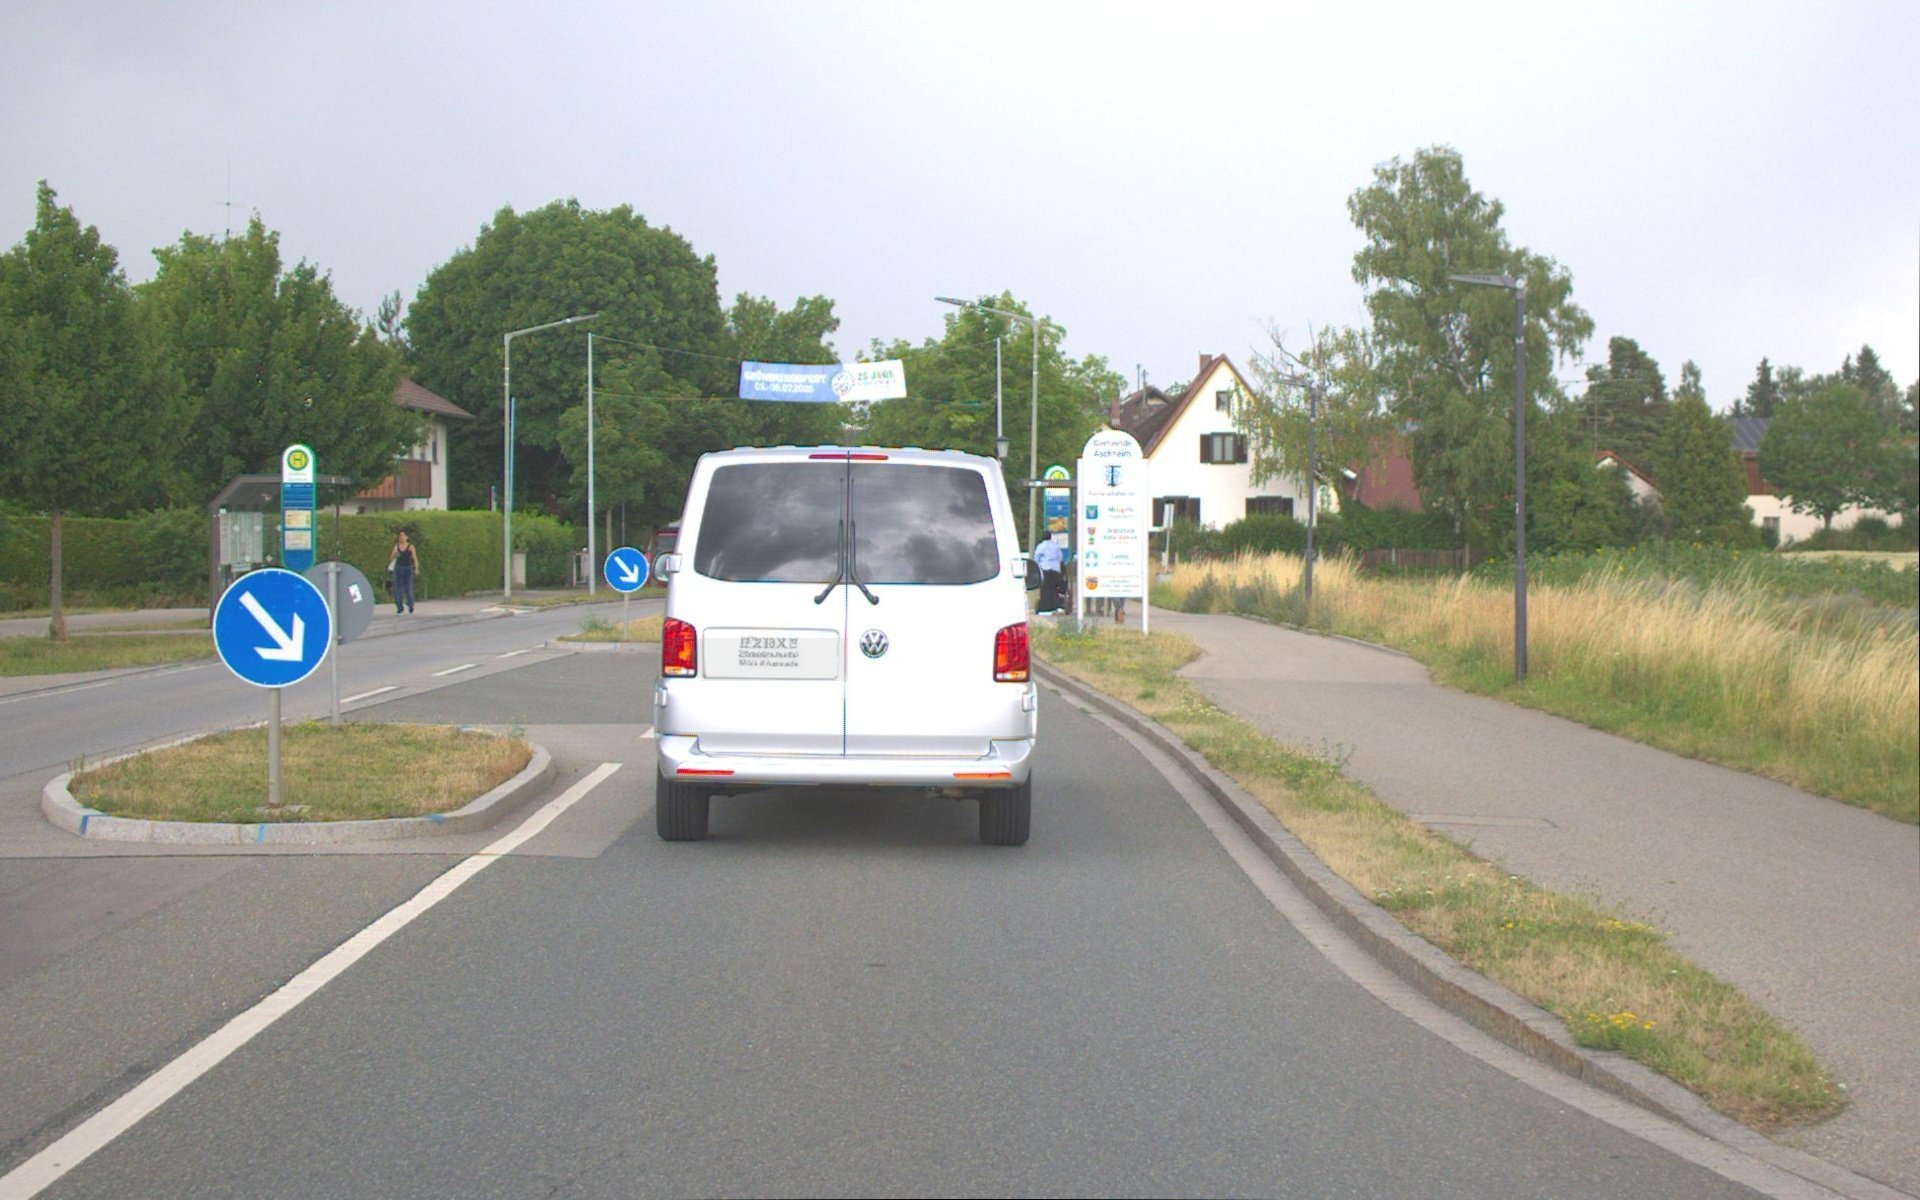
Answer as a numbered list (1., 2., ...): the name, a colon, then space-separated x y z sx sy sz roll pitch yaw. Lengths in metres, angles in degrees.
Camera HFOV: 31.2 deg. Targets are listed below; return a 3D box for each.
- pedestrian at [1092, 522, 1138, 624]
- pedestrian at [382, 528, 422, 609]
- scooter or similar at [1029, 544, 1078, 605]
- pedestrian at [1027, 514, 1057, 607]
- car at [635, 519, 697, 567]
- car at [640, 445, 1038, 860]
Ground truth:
1. pedestrian: 2.645 -0.462 58.694 0.485 1.726 0.642 -2 2 -26
2. pedestrian: -10.718 -0.610 66.069 0.623 1.519 0.680 -2 1 -1
3. scooter or similar: 1.752 -0.477 64.337 0.848 1.100 1.094 -2 1 0
4. pedestrian: 1.542 -0.754 64.628 0.485 1.726 0.642 -2 1 -1
5. car: -9.125 -1.789 106.847 1.653 1.424 3.603 -2 2 -1
6. car: -0.642 0.198 18.018 1.825 1.907 4.001 1 1 -2
